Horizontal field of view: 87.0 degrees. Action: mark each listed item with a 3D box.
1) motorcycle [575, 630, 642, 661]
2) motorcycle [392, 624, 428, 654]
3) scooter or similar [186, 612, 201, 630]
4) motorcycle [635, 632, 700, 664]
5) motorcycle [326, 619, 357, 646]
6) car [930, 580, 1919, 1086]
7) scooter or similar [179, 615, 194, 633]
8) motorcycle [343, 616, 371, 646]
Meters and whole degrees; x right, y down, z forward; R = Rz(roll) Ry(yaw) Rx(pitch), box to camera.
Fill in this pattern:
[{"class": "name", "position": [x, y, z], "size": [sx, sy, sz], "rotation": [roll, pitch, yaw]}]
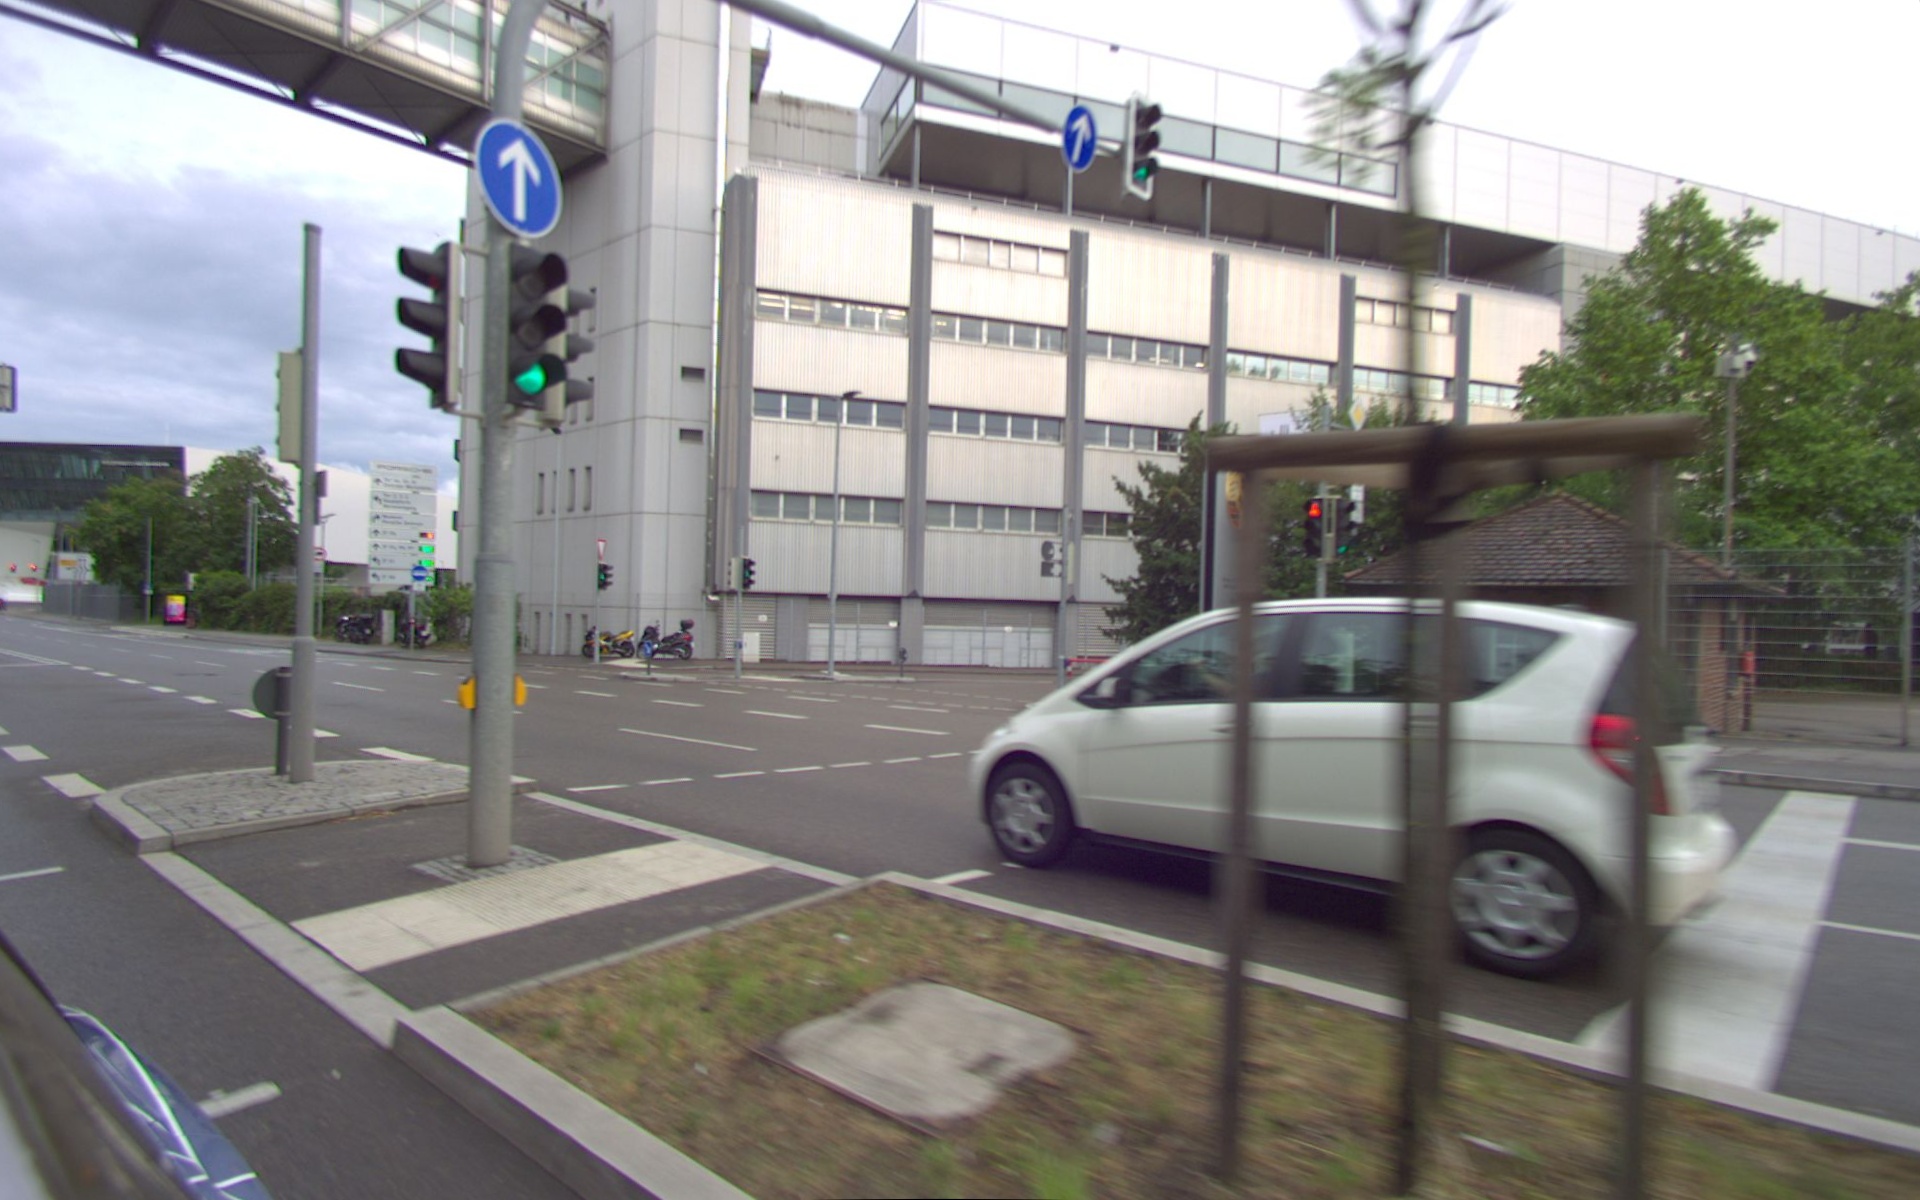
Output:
[{"class": "motorcycle", "position": [-12.426, 1.601, 35.766], "size": [2.144, 1.035, 0.625], "rotation": [1, -2, 7]}, {"class": "motorcycle", "position": [-22.394, 1.564, 41.192], "size": [2.037, 1.171, 0.561], "rotation": [0, -2, 40]}, {"class": "scooter or similar", "position": [-47.585, 1.302, 62.836], "size": [1.568, 1.138, 0.389], "rotation": [0, -3, 42]}, {"class": "motorcycle", "position": [-10.252, 1.674, 35.437], "size": [2.150, 1.035, 0.624], "rotation": [1, -2, 15]}, {"class": "motorcycle", "position": [-28.504, 1.486, 46.633], "size": [1.967, 1.224, 0.618], "rotation": [0, -2, 42]}, {"class": "car", "position": [2.061, 0.780, 5.335], "size": [4.485, 1.602, 1.752], "rotation": [0, -3, 43]}, {"class": "scooter or similar", "position": [-48.865, 1.527, 63.932], "size": [1.568, 1.138, 0.389], "rotation": [0, -3, 42]}, {"class": "motorcycle", "position": [-26.600, 1.372, 44.636], "size": [0.617, 1.277, 2.173], "rotation": [0, -1, -43]}]
